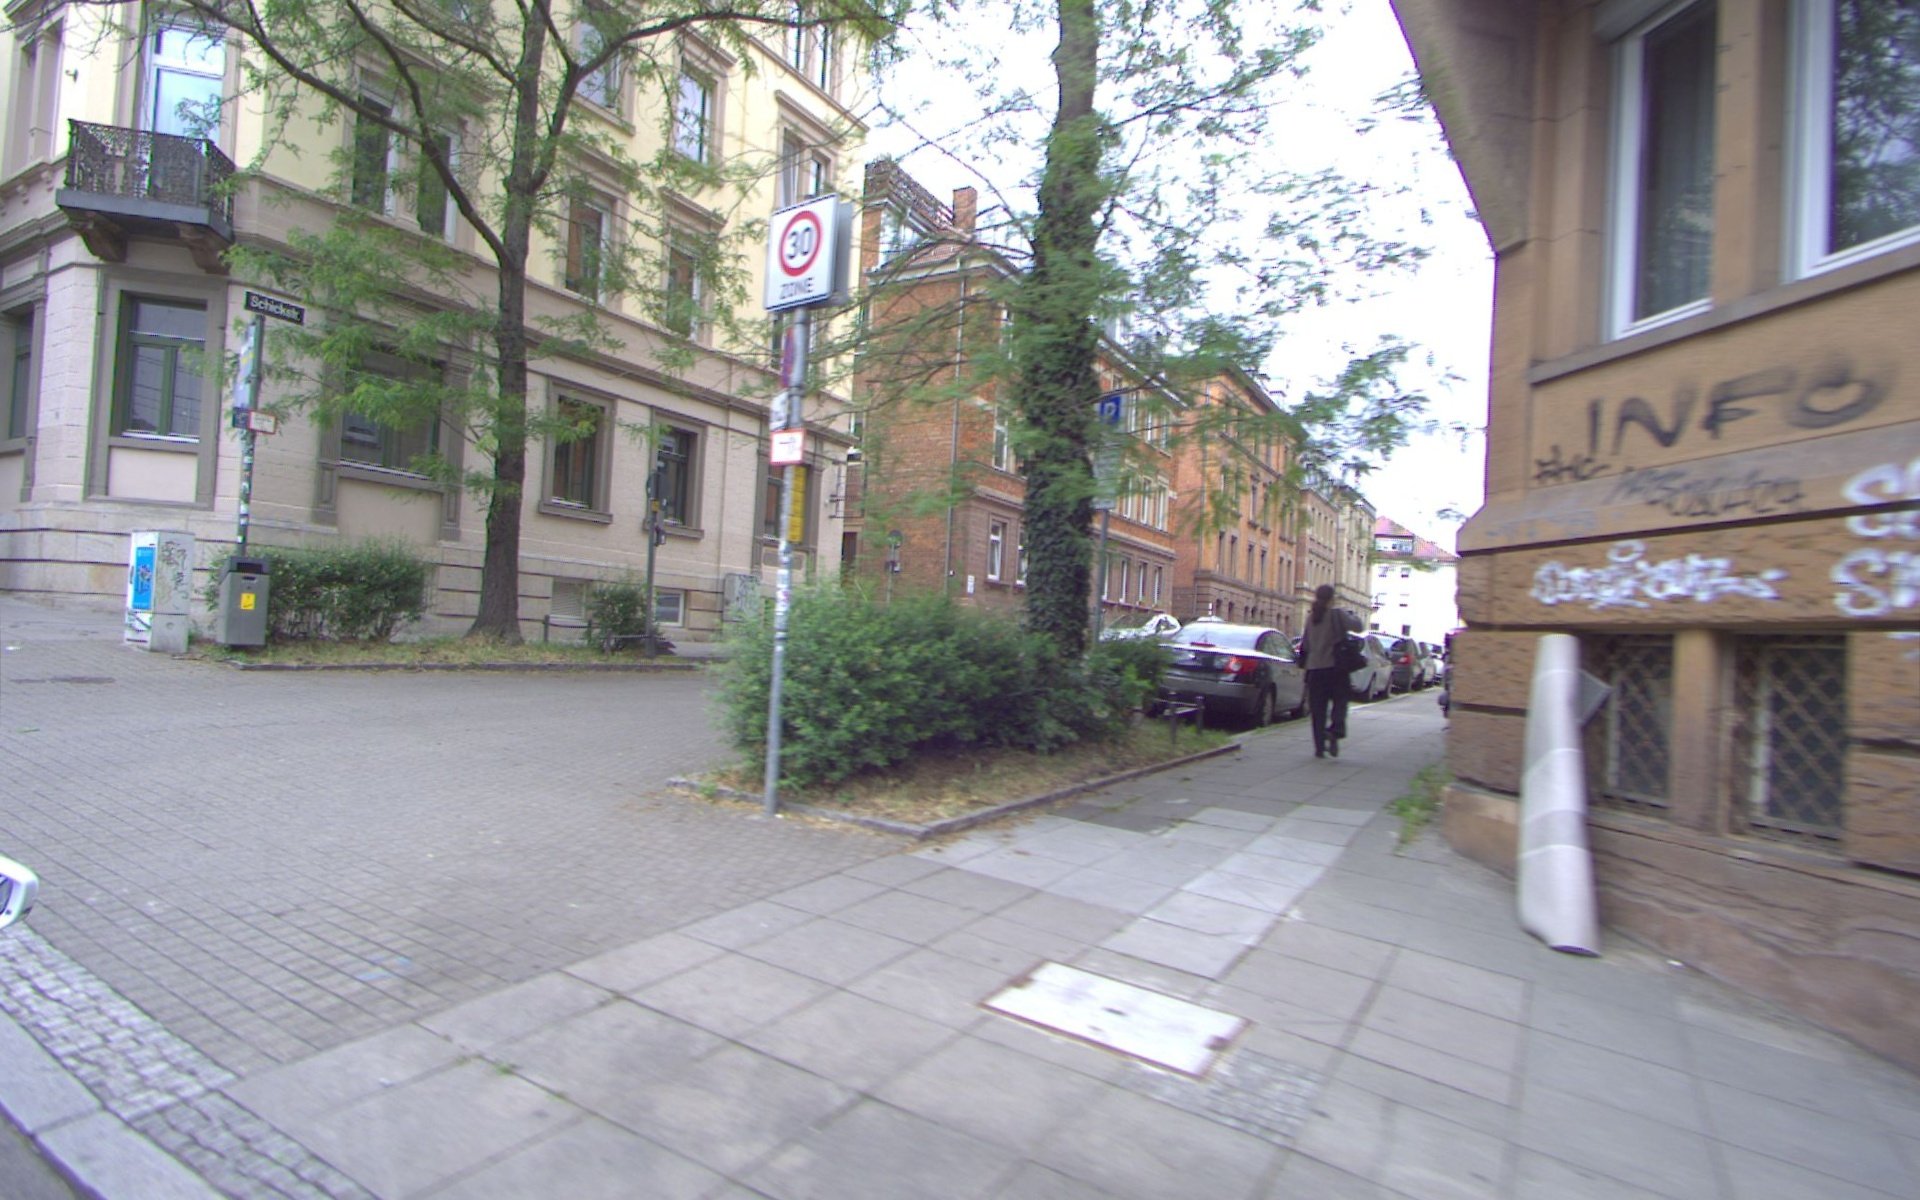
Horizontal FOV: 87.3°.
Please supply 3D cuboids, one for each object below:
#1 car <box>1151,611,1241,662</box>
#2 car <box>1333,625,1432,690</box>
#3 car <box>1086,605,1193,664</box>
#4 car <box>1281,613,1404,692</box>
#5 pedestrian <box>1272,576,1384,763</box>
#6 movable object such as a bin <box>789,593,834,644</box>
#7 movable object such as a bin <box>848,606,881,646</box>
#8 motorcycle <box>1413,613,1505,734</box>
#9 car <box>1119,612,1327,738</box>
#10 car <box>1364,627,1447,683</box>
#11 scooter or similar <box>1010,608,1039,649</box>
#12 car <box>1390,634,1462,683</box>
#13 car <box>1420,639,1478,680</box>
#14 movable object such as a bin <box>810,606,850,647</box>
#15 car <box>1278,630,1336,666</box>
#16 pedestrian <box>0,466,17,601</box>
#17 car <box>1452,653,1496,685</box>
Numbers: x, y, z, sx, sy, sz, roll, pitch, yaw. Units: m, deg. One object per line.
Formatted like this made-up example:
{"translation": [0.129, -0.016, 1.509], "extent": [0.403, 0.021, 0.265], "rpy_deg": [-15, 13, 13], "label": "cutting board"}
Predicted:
{"translation": [8.197, 1.243, 34.754], "extent": [1.781, 1.492, 4.088], "rpy_deg": [6, 2, 30], "label": "car"}
{"translation": [11.177, 1.445, 26.468], "extent": [1.781, 1.397, 4.033], "rpy_deg": [6, 2, 30], "label": "car"}
{"translation": [5.508, 1.010, 30.485], "extent": [1.781, 1.492, 4.088], "rpy_deg": [6, 2, 30], "label": "car"}
{"translation": [8.496, 1.167, 22.143], "extent": [1.781, 1.396, 4.091], "rpy_deg": [6, 0, 30], "label": "car"}
{"translation": [3.592, 0.640, 9.798], "extent": [0.836, 1.708, 0.858], "rpy_deg": [2, 1, 31], "label": "pedestrian"}
{"translation": [-3.336, 0.420, 22.606], "extent": [0.619, 1.082, 0.663], "rpy_deg": [6, 2, 32], "label": "movable object such as a bin"}
{"translation": [-2.298, 0.633, 24.261], "extent": [0.539, 0.893, 0.488], "rpy_deg": [6, 2, 32], "label": "movable object such as a bin"}
{"translation": [6.860, 0.982, 13.725], "extent": [0.825, 1.453, 2.921], "rpy_deg": [3, -2, 31], "label": "motorcycle"}
{"translation": [3.962, 0.980, 14.647], "extent": [1.781, 1.397, 4.088], "rpy_deg": [6, 2, 30], "label": "car"}
{"translation": [13.628, 1.716, 30.647], "extent": [1.781, 1.395, 4.038], "rpy_deg": [6, -1, 30], "label": "car"}
{"translation": [2.023, 0.892, 31.598], "extent": [0.320, 1.220, 1.114], "rpy_deg": [6, 0, 31], "label": "scooter or similar"}
{"translation": [16.160, 2.003, 34.797], "extent": [1.781, 1.396, 4.036], "rpy_deg": [6, 0, 30], "label": "car"}
{"translation": [20.423, 2.524, 41.964], "extent": [1.781, 1.395, 4.038], "rpy_deg": [6, -1, 30], "label": "car"}
{"translation": [-3.004, 0.615, 23.221], "extent": [0.619, 0.864, 0.600], "rpy_deg": [6, 1, 32], "label": "movable object such as a bin"}
{"translation": [17.084, 2.304, 49.413], "extent": [1.781, 1.492, 4.088], "rpy_deg": [6, 2, 30], "label": "car"}
{"translation": [-12.669, -0.905, 12.646], "extent": [1.106, 1.683, 0.711], "rpy_deg": [7, 1, 24], "label": "pedestrian"}
{"translation": [27.734, 3.743, 54.263], "extent": [1.781, 1.395, 4.039], "rpy_deg": [6, -2, 30], "label": "car"}
